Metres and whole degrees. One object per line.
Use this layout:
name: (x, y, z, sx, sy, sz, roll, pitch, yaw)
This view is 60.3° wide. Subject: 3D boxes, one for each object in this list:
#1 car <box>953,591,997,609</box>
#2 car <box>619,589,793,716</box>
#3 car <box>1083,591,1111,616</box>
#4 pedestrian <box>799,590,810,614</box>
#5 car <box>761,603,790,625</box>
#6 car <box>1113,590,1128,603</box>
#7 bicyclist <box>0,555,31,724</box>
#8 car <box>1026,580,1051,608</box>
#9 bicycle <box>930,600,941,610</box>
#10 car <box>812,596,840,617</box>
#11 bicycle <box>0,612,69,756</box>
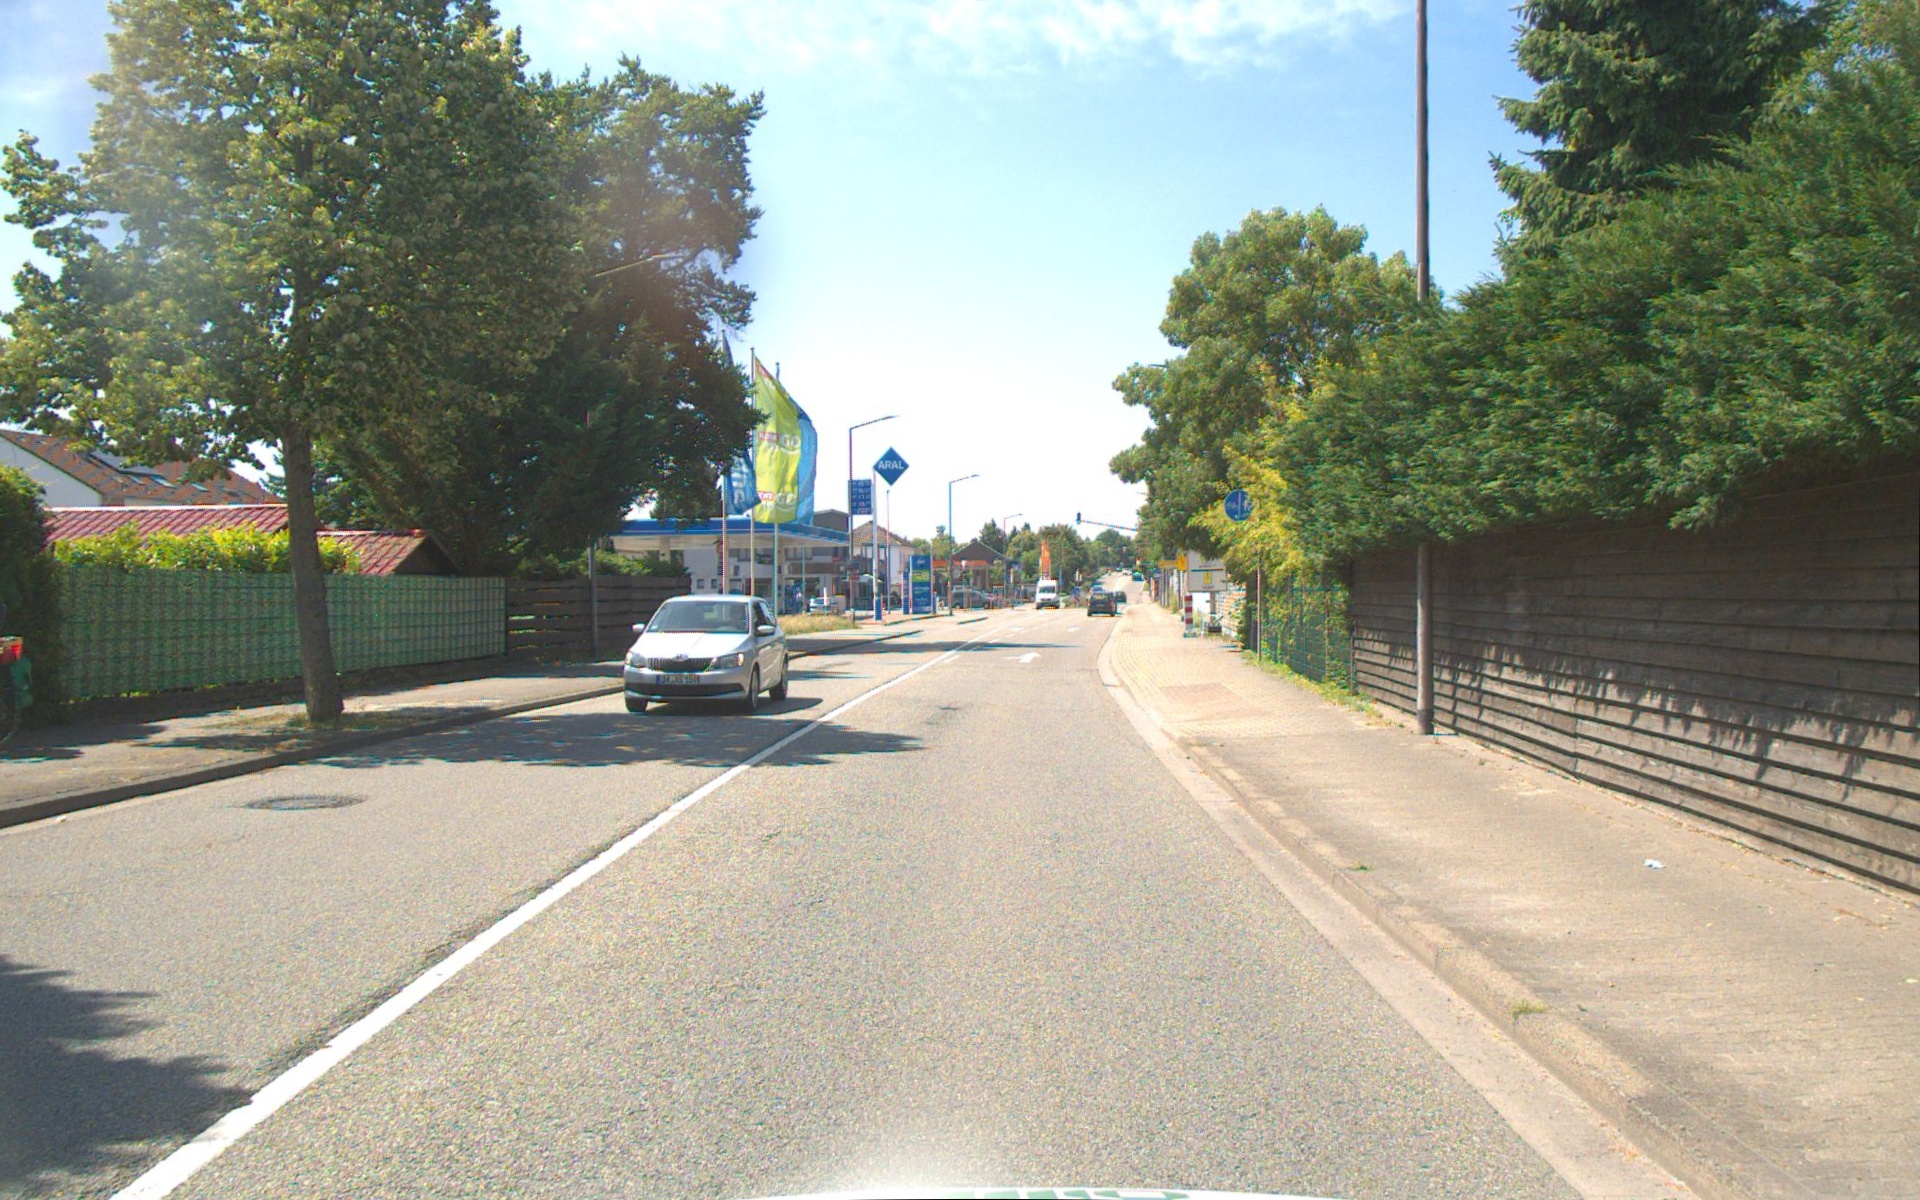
car: (1.394, 0.010, 151.609, 3.904, 1.534, 1.555, -1, 0, 3)
car: (-3.277, 0.627, 21.983, 1.578, 1.508, 3.708, -1, 1, 2)
car: (8.538, 0.227, 102.629, 1.630, 1.481, 3.475, -1, 1, 6)
pedestrian: (-11.546, 0.132, 122.760, 0.602, 1.720, 0.705, -1, 0, -20)
car: (-13.600, 1.006, 121.911, 1.583, 1.445, 3.713, -3, 0, 2)
car: (19.233, -0.429, 198.168, 1.630, 1.481, 3.475, -1, 1, 6)
bicyclist: (-8.444, 0.339, 14.097, 0.615, 1.433, 0.677, -1, 0, 2)
car: (7.338, -0.567, 153.432, 1.951, 2.465, 5.951, 0, -1, 6)
bicycle: (-2.126, 0.450, 143.241, 0.599, 0.807, 2.577, -1, 1, 6)
car: (-9.869, 0.452, 122.169, 1.583, 1.445, 3.713, -3, 0, 2)
bicycle: (-8.436, 0.726, 14.100, 0.619, 1.200, 1.816, -1, 1, 2)
